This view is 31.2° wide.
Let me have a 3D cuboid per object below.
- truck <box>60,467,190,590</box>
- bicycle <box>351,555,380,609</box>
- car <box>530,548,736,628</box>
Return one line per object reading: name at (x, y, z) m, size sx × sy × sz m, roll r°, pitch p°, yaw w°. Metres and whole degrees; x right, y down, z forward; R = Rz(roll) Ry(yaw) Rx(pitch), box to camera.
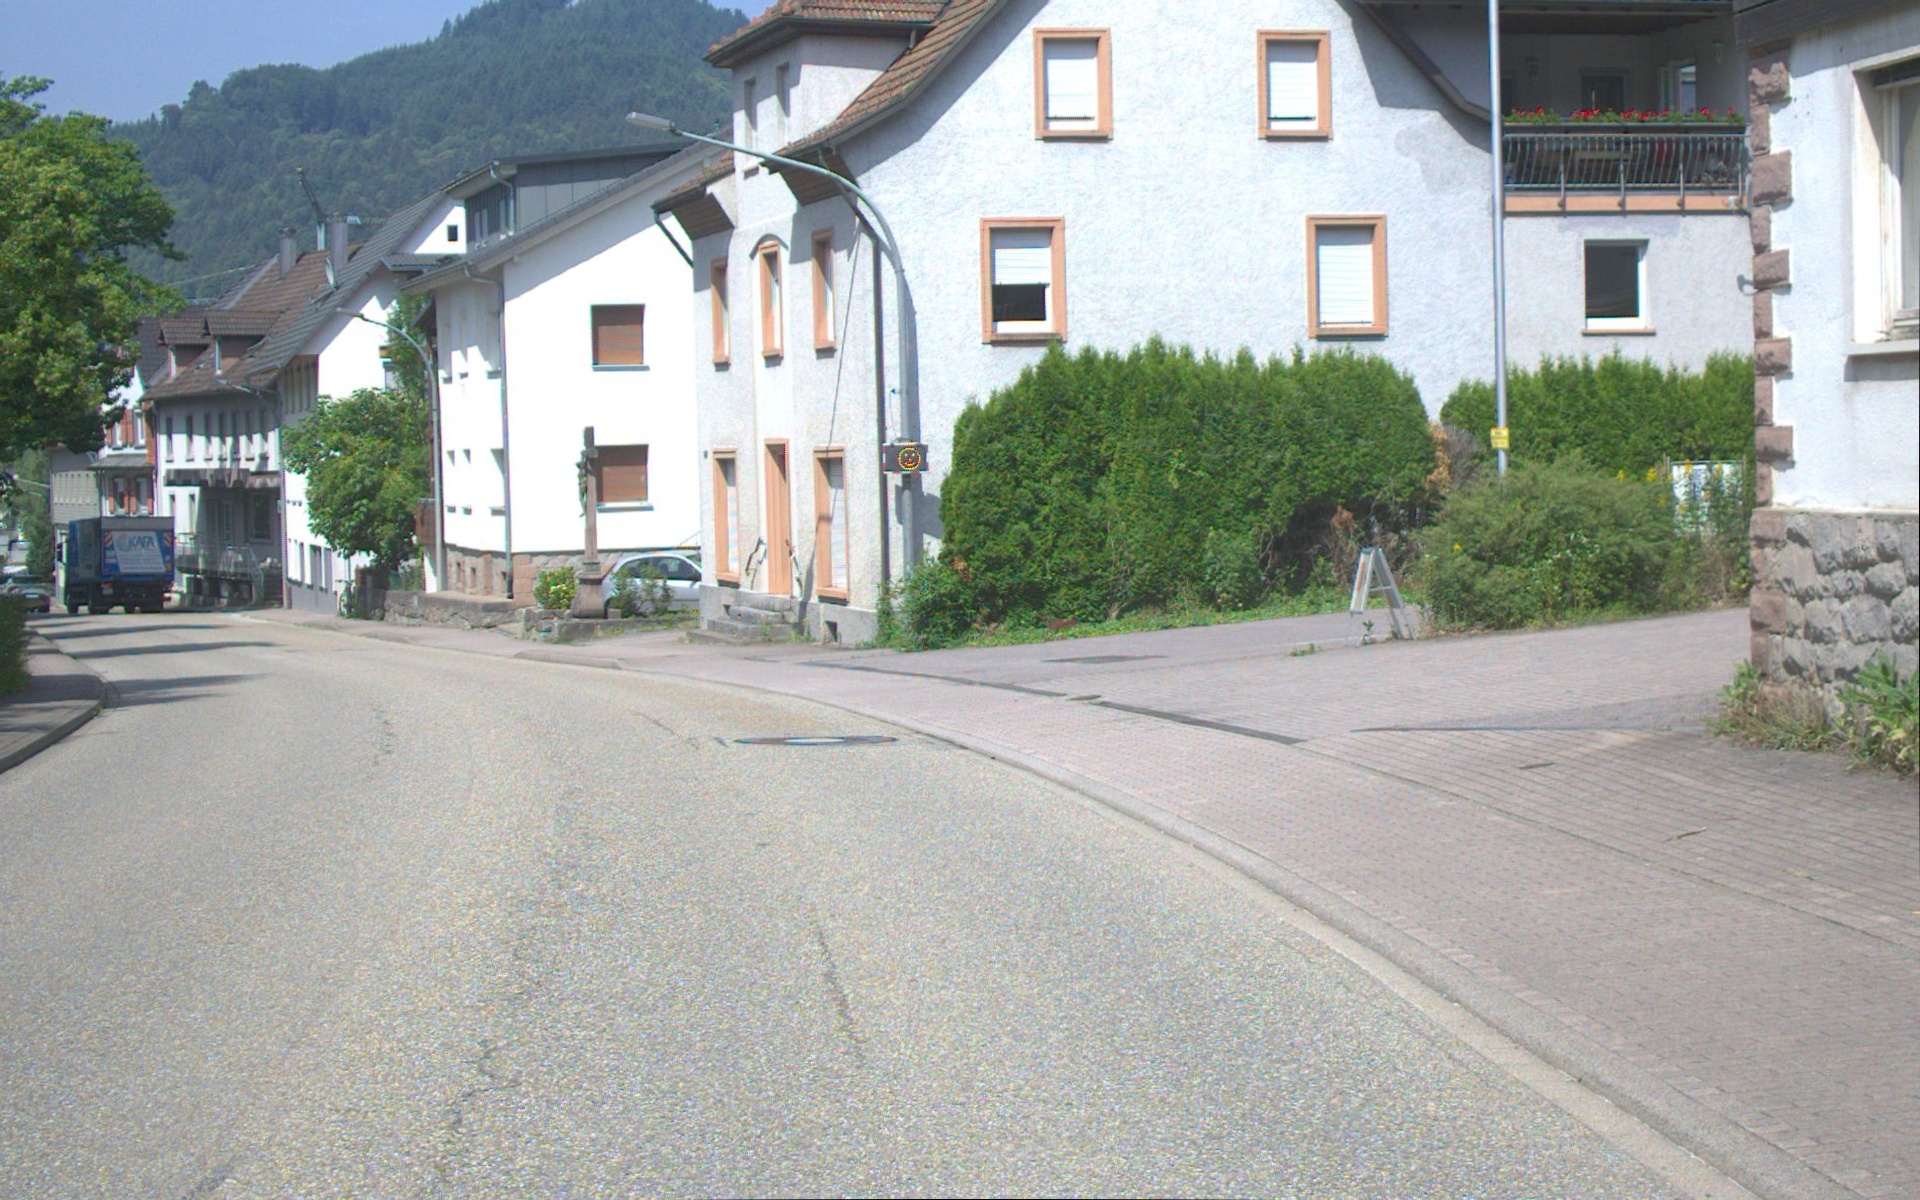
truck at (-30.084, -2.498, 123.591) m, size 3.362 × 3.769 × 8.442 m, roll -6°, pitch 0°, yaw -20°
bicycle at (-15.895, -0.497, 91.889) m, size 0.425 × 1.391 × 2.277 m, roll -5°, pitch 2°, yaw -16°
car at (-6.479, -0.241, 68.056) m, size 3.770 × 1.422 × 1.607 m, roll -2°, pitch 1°, yaw 29°
